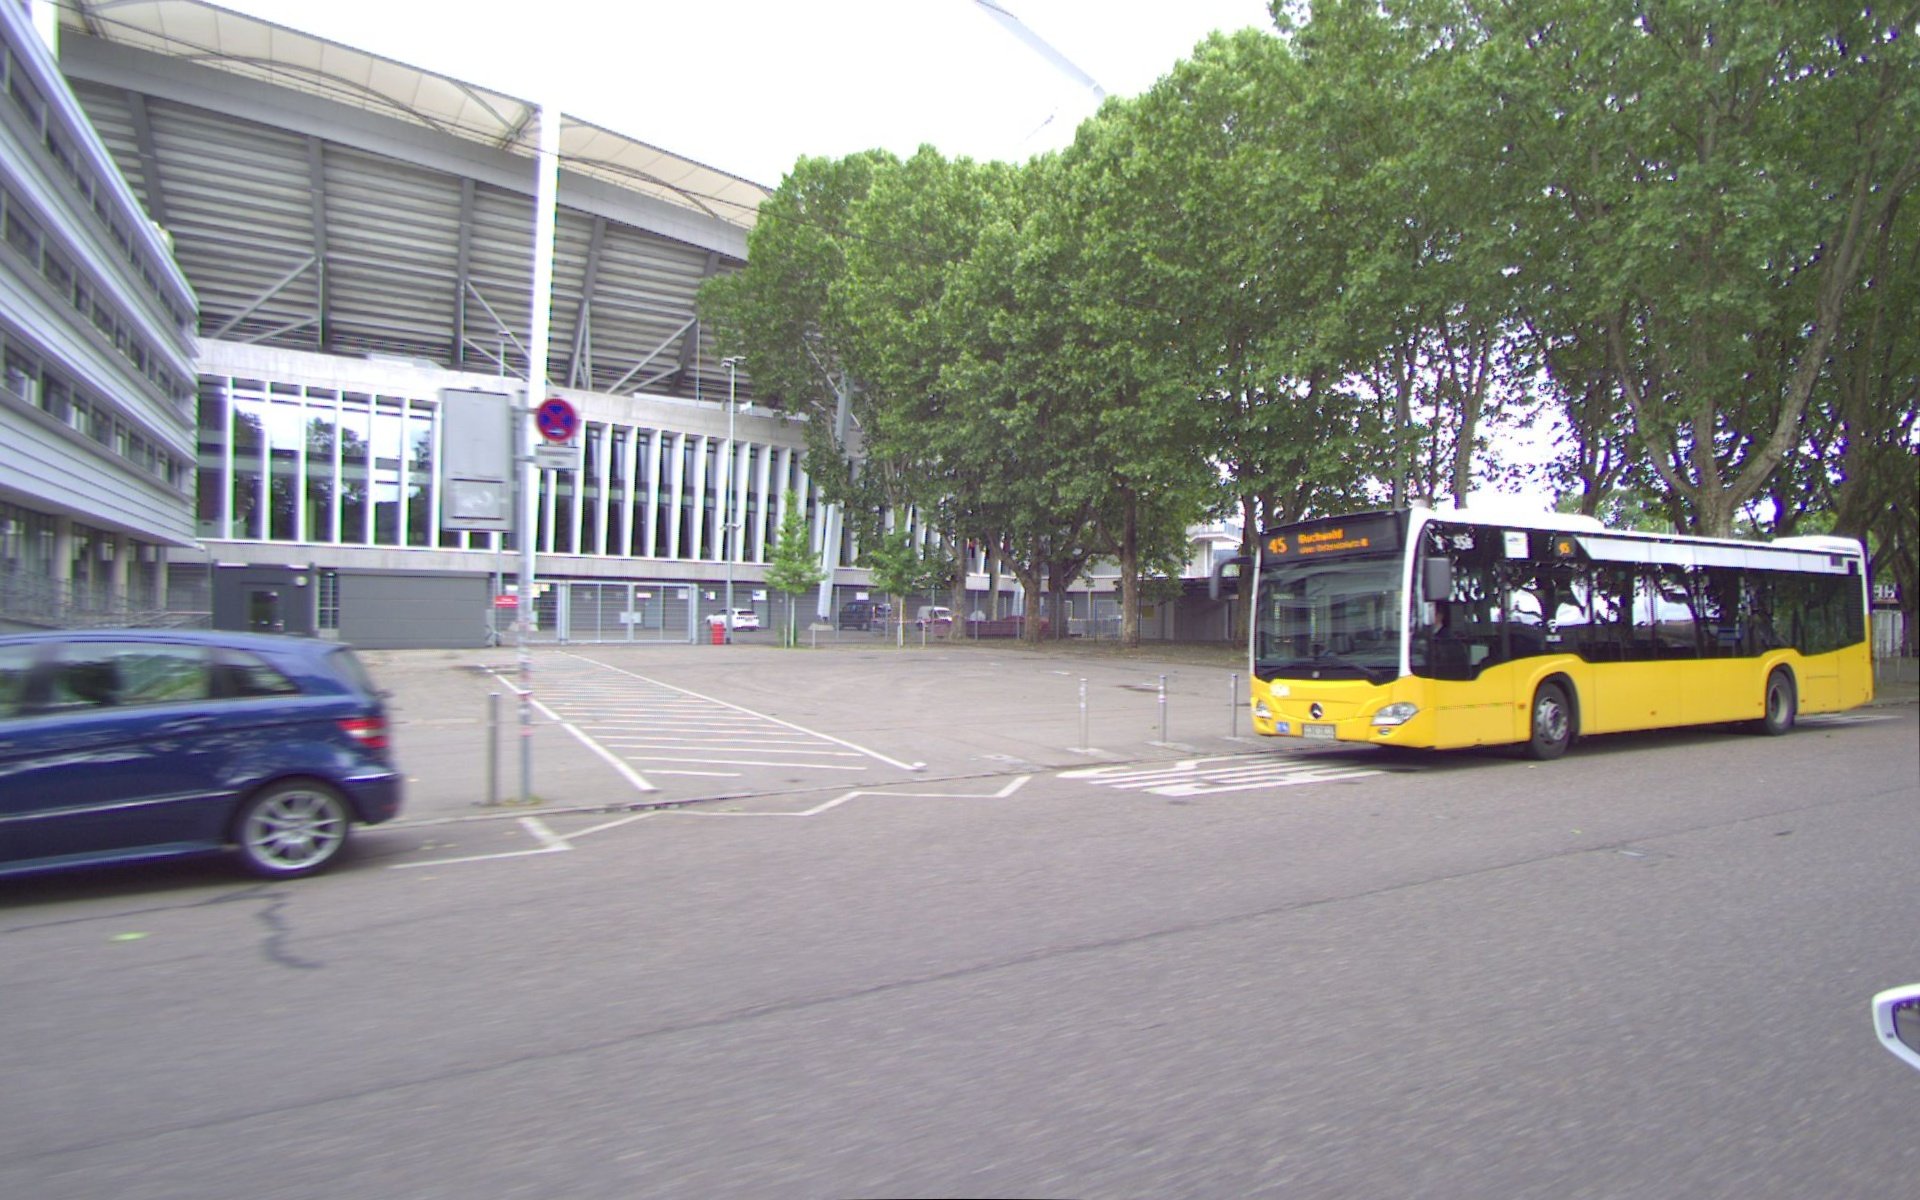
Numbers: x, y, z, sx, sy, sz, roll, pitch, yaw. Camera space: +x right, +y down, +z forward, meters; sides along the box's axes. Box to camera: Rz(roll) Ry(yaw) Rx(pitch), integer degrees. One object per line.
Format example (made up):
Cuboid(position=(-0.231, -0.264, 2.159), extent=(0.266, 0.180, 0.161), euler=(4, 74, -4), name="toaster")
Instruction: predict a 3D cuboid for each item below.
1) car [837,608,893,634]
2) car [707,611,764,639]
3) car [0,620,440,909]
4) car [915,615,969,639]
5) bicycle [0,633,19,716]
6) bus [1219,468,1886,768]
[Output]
Cuboid(position=(-6.664, 1.452, 70.054), extent=(1.984, 1.684, 3.953), euler=(1, -1, -40), name="car")
Cuboid(position=(-14.297, 1.562, 63.886), extent=(1.984, 1.684, 3.953), euler=(1, -1, -40), name="car")
Cuboid(position=(-5.760, 0.975, 6.290), extent=(4.338, 1.586, 1.745), euler=(1, -5, -32), name="car")
Cuboid(position=(-1.364, 1.990, 74.279), extent=(1.984, 1.684, 3.953), euler=(1, -1, -40), name="car")
Cuboid(position=(-14.644, 1.133, 14.944), extent=(0.563, 1.202, 1.902), euler=(1, 0, -32), name="bicycle")
Cuboid(position=(9.336, 0.388, 14.843), extent=(12.218, 3.195, 2.641), euler=(1, -4, -29), name="bus")
